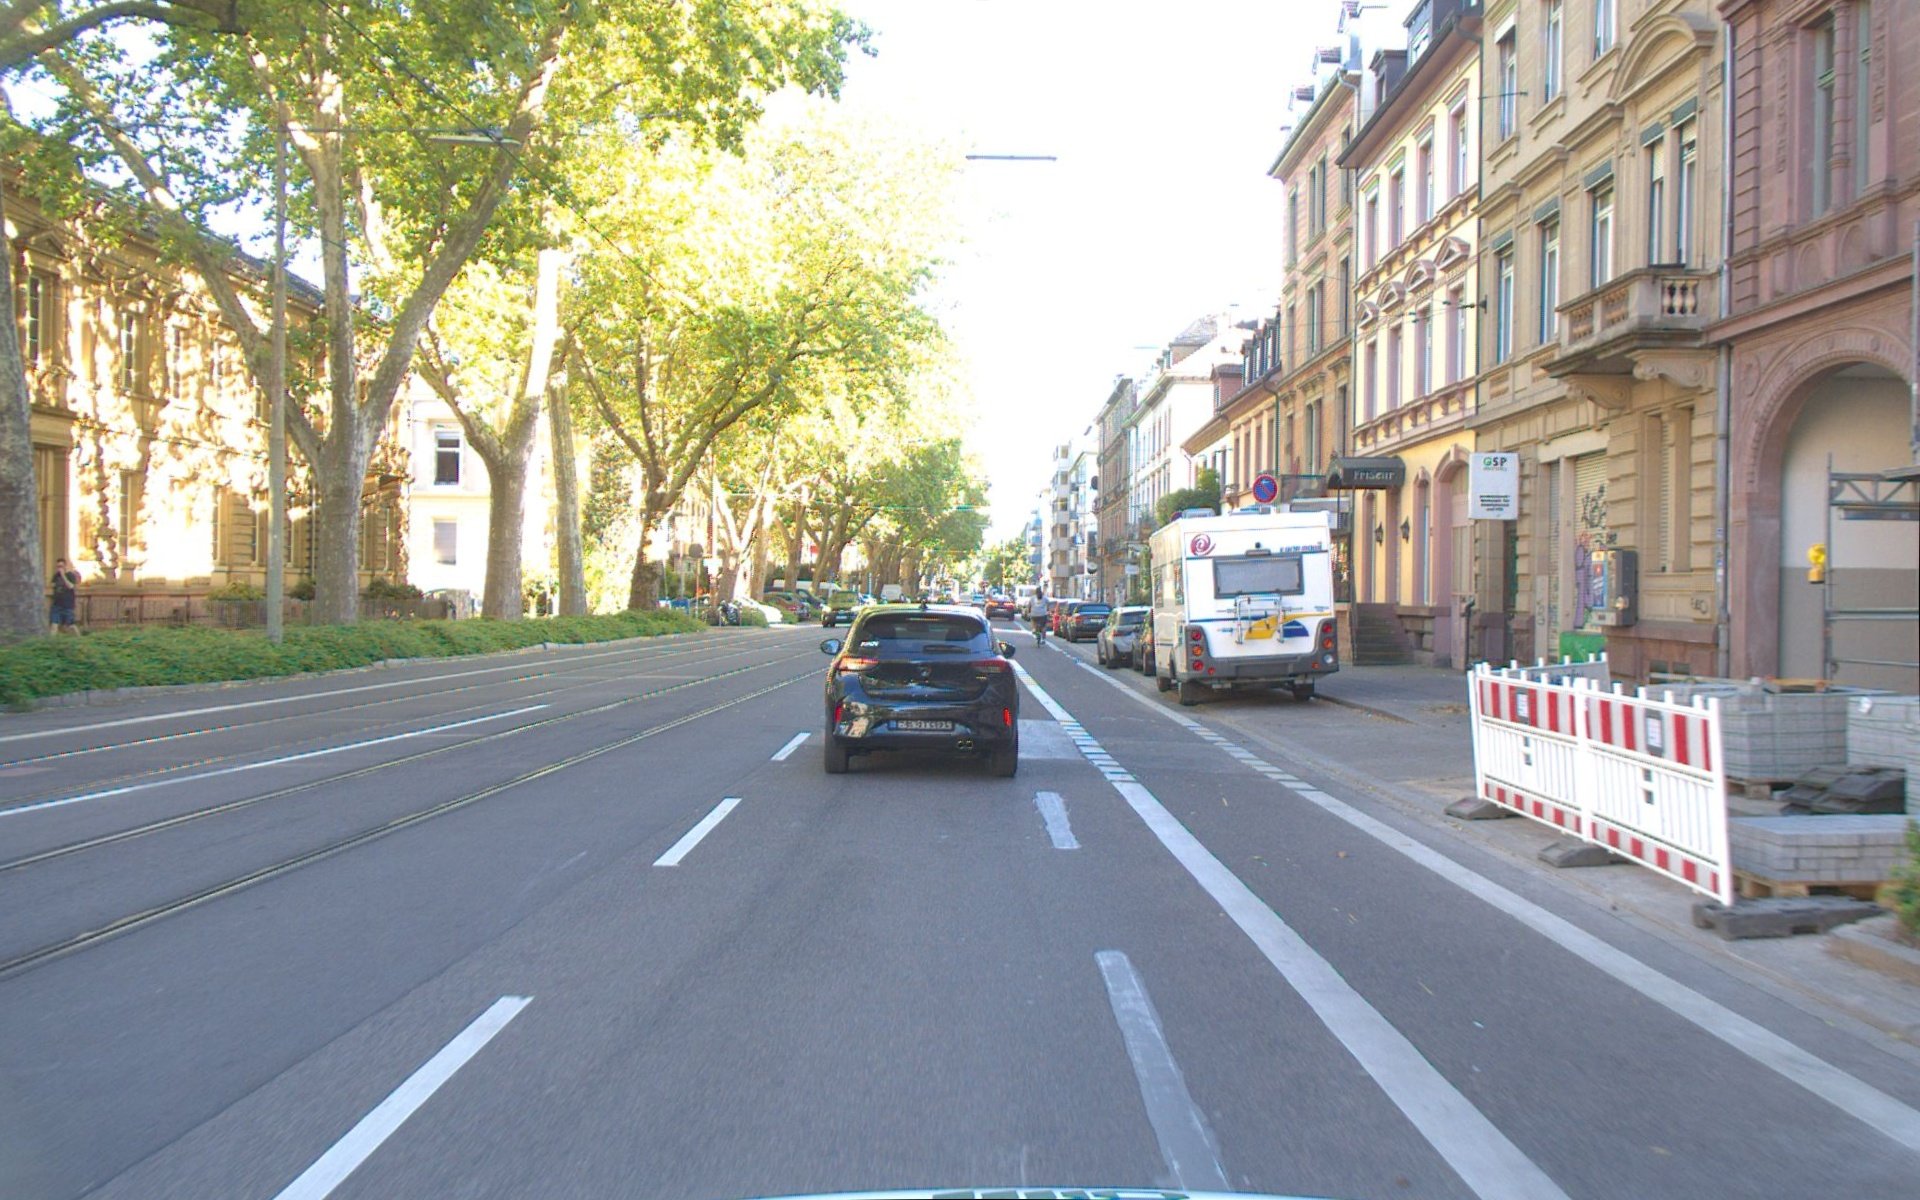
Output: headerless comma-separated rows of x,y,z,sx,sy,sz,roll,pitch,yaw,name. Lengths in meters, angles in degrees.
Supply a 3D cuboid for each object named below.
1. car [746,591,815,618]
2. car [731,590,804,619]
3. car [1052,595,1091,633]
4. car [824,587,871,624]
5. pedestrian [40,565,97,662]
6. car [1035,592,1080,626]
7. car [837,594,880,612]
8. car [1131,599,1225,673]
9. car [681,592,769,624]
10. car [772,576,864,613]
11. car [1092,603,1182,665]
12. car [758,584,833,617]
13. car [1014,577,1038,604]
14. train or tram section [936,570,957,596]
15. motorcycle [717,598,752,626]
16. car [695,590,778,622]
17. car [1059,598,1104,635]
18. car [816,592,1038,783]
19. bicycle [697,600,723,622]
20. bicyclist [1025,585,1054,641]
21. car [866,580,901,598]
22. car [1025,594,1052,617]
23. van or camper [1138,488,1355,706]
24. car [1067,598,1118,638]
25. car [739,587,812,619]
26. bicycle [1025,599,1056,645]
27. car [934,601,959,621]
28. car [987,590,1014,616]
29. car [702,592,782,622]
-10.641,0.251,98.168,3.840,1.446,1.818,2,0,-1,car
-10.891,0.247,93.546,3.839,1.467,1.749,2,0,1,car
4.838,0.593,72.221,1.600,1.574,3.577,0,0,2,car
-5.229,0.236,77.335,1.828,1.658,4.561,0,1,1,car
-17.721,0.259,32.892,0.705,1.882,0.836,1,0,-6,pedestrian
4.889,0.456,83.600,1.842,1.613,3.931,-3,0,-2,car
-9.416,0.256,153.417,3.841,1.524,1.676,2,0,-2,car
4.732,0.746,36.319,1.611,1.459,4.030,-3,0,2,car
-11.286,0.362,79.592,3.839,1.355,1.848,2,0,1,car
-10.498,-0.373,122.697,6.491,2.451,2.458,2,0,1,car
4.353,0.803,41.245,1.772,1.460,4.665,0,0,0,car
-10.676,0.025,107.597,4.578,1.957,1.980,2,0,2,car
6.015,-0.856,150.319,2.032,2.258,4.934,-3,0,2,car
-1.992,-2.454,245.971,2.678,3.746,12.719,0,0,2,train or tram section
-10.054,0.530,73.760,0.865,1.167,2.392,1,0,8,motorcycle
-11.126,0.291,82.401,3.840,1.478,1.800,1,0,0,car
4.936,0.660,67.629,1.617,1.482,3.869,0,0,1,car
-0.248,0.696,15.090,1.757,1.466,3.532,1,1,1,car
-11.134,0.496,73.750,0.529,0.957,2.036,1,0,9,bicycle
2.564,0.406,53.333,0.830,1.770,1.162,1,0,0,bicyclist
-8.476,-1.235,184.126,3.841,1.821,1.676,2,0,-2,car
5.373,0.365,112.721,1.669,1.481,3.699,-3,0,4,car
4.540,-0.047,27.729,2.426,3.024,7.886,-3,0,2,van or camper
4.804,0.624,60.318,1.658,1.417,4.496,0,0,2,car
-10.668,0.182,95.763,3.913,1.655,1.879,2,0,1,car
2.569,0.692,53.279,0.843,1.431,2.524,1,0,0,bicycle
-0.993,0.781,121.213,1.772,1.361,3.933,1,0,0,car
2.824,0.213,114.685,1.772,1.772,3.934,1,0,2,car
-11.174,0.356,84.969,3.839,1.488,1.806,1,0,1,car
